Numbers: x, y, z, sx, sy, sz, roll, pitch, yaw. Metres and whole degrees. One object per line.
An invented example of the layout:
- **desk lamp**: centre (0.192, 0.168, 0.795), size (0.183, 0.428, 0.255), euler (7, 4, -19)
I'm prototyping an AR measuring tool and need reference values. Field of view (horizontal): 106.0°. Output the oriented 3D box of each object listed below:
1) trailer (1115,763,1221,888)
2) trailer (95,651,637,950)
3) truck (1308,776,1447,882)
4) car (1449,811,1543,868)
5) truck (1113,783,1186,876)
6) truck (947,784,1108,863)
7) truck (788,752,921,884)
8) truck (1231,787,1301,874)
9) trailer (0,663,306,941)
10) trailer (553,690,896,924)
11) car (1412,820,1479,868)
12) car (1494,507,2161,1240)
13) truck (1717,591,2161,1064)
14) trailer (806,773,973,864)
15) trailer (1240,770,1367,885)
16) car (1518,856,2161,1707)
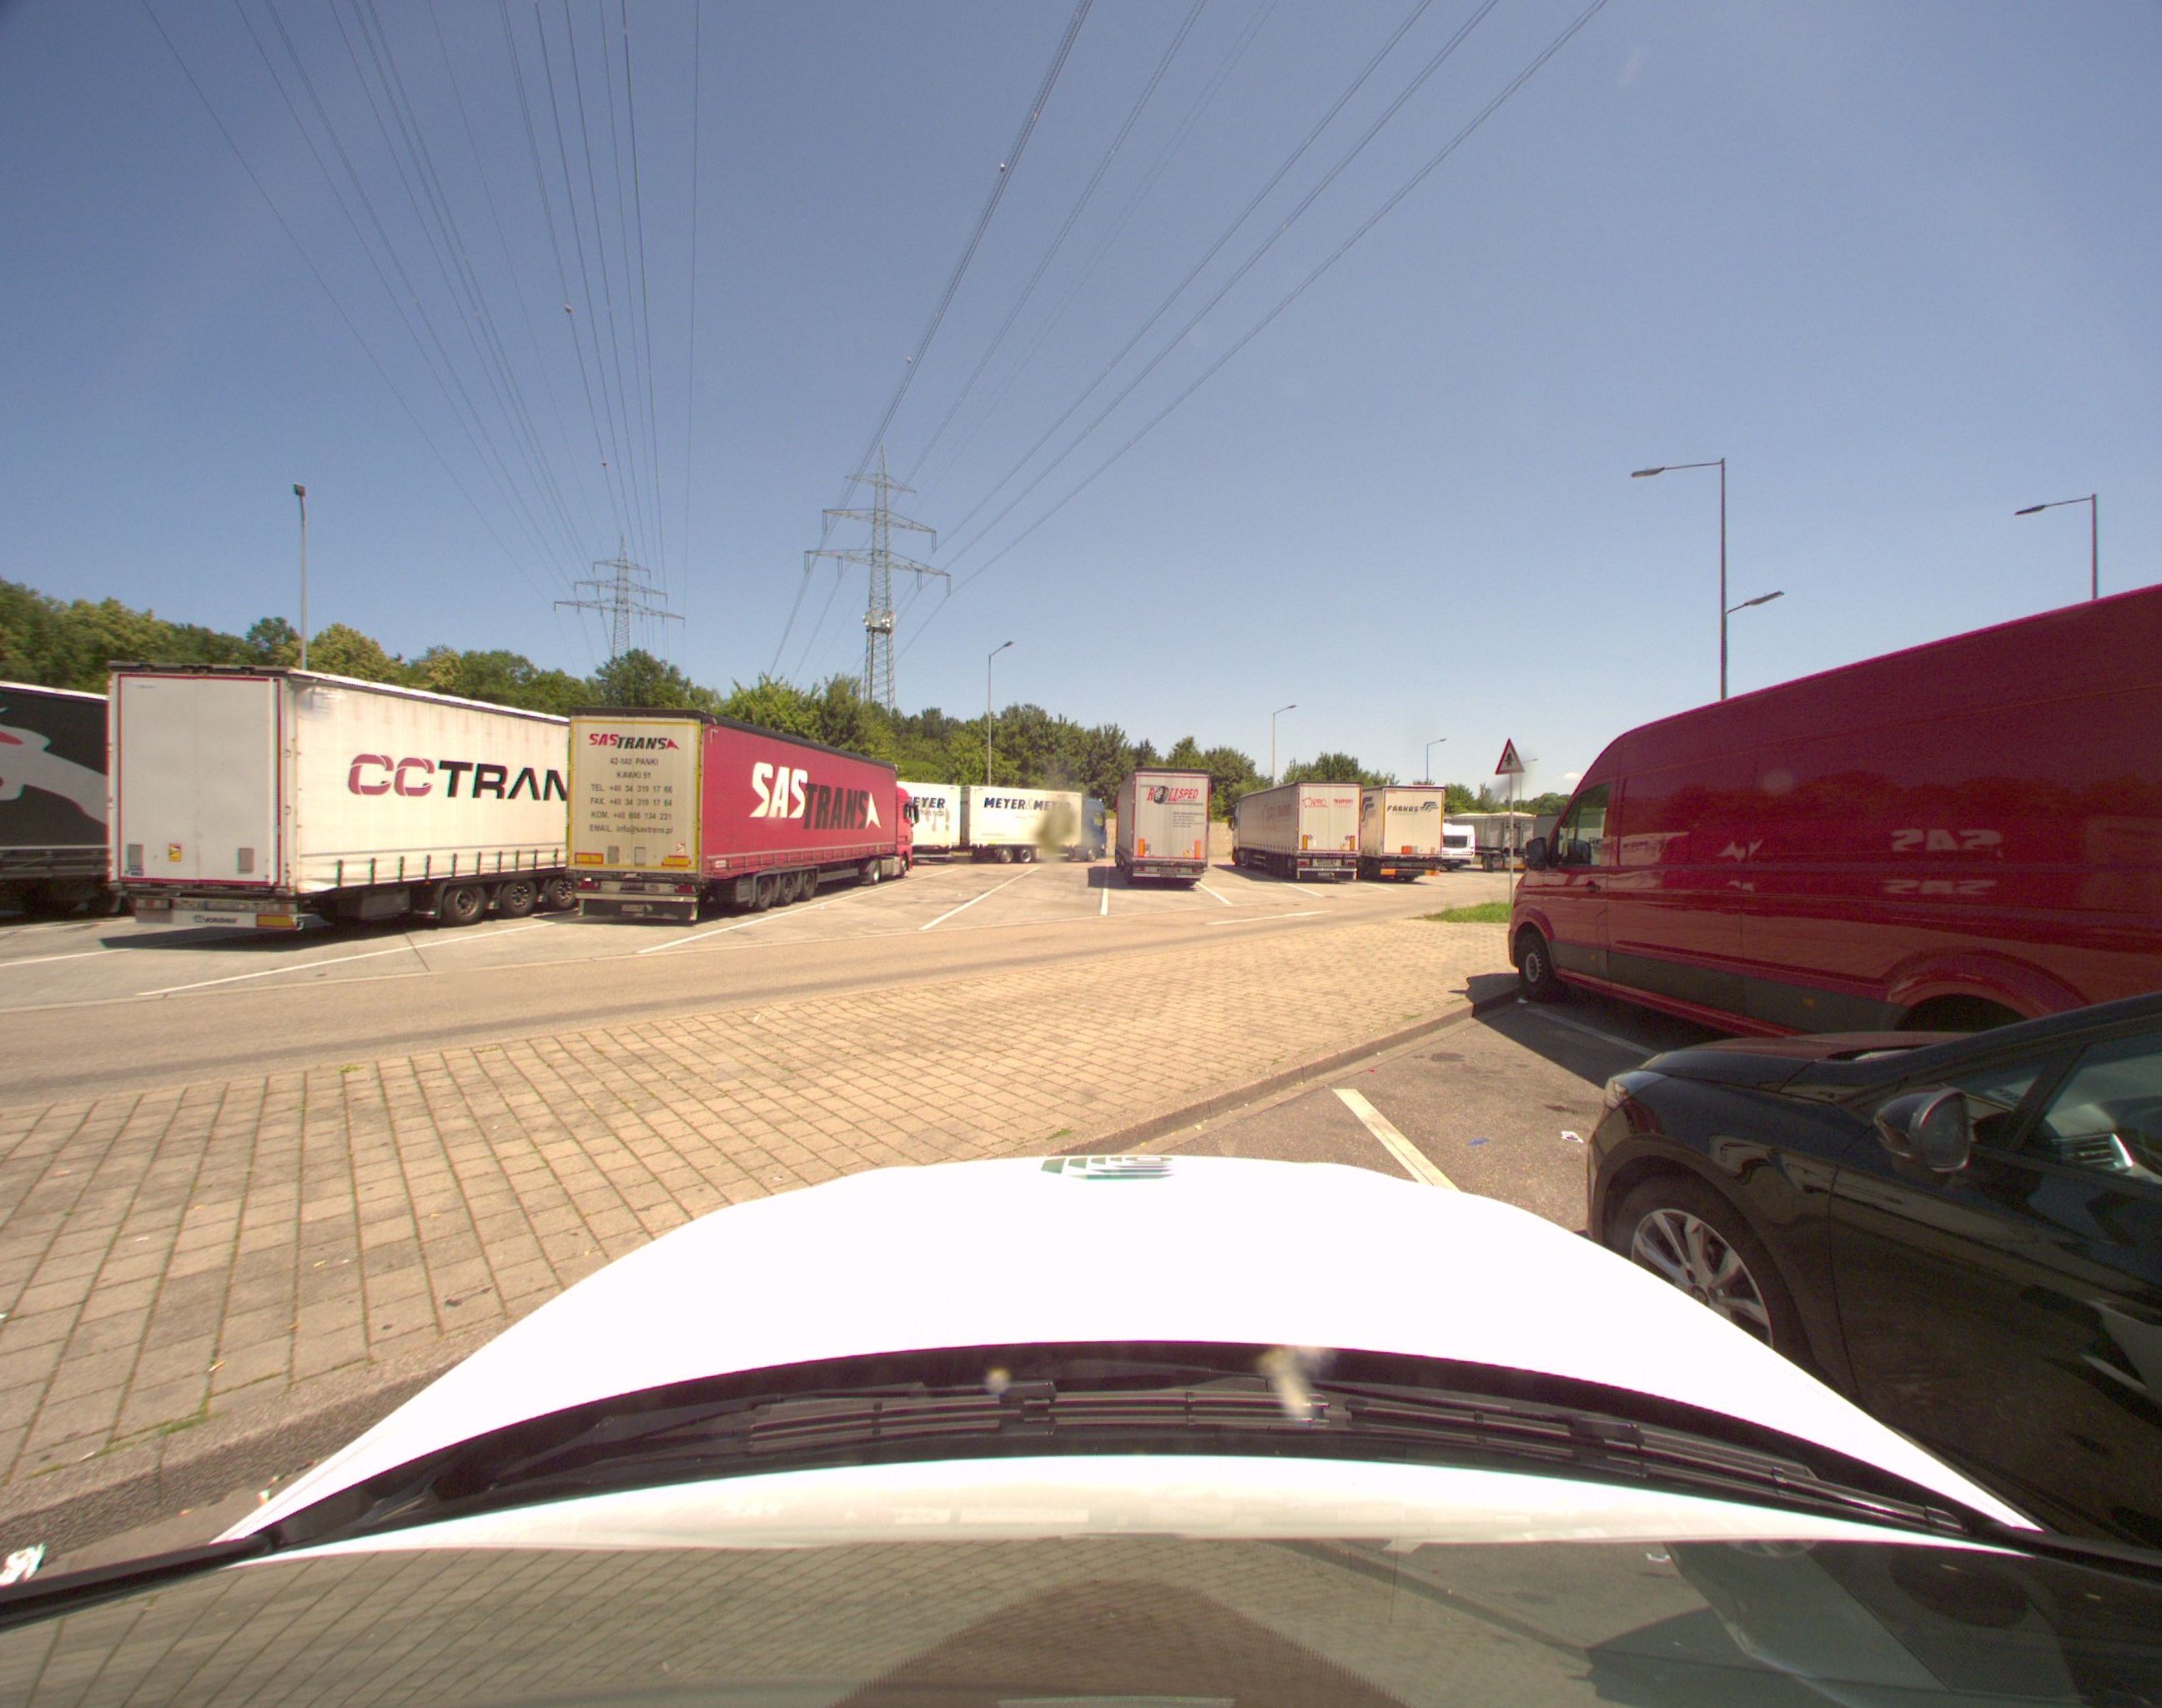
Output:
- **trailer**: centre (3.036, -1.001, 31.867), size (2.888, 4.013, 11.315), euler (-1, 1, 0)
- **trailer**: centre (-12.205, -0.807, 15.470), size (2.744, 4.152, 8.291), euler (0, 1, 2)
- **truck**: centre (13.537, -0.946, 38.581), size (2.577, 4.226, 11.974), euler (0, -1, 2)
- **car**: centre (24.141, -0.831, 47.734), size (2.490, 3.074, 6.353), euler (-1, 1, 2)
- **truck**: centre (3.035, -1.083, 37.764), size (2.863, 3.980, 6.028), euler (0, 1, 0)
- **truck**: centre (-2.765, -1.560, 46.143), size (10.112, 4.033, 2.214), euler (0, 0, -44)
- **truck**: centre (-7.749, -1.171, 28.700), size (2.795, 4.133, 5.896), euler (-1, 1, 2)
- **truck**: centre (10.073, -1.233, 44.907), size (2.651, 4.452, 5.866), euler (-1, 1, 2)
- **trailer**: centre (-18.554, -0.847, 14.892), size (2.668, 4.444, 6.151), euler (-1, 1, 2)
- **trailer**: centre (-8.000, -0.945, 21.444), size (2.789, 4.219, 13.208), euler (-1, 1, 2)
- **car**: centre (20.543, -0.526, 46.113), size (2.107, 2.599, 4.001), euler (0, -1, 2)
- **car**: centre (5.128, 0.026, 5.497), size (1.984, 2.633, 6.393), euler (-1, 1, 5)
- **truck**: centre (7.793, -0.157, 6.073), size (2.508, 2.827, 4.821), euler (0, -1, 3)
- **trailer**: centre (-9.167, -1.564, 39.792), size (7.932, 4.067, 2.236), euler (0, -1, -45)
- **trailer**: centre (9.905, -1.117, 38.085), size (2.672, 4.452, 12.833), euler (-1, 1, 1)
- **car**: centre (2.543, 0.728, 1.046), size (1.773, 1.457, 3.679), euler (0, -1, -5)
